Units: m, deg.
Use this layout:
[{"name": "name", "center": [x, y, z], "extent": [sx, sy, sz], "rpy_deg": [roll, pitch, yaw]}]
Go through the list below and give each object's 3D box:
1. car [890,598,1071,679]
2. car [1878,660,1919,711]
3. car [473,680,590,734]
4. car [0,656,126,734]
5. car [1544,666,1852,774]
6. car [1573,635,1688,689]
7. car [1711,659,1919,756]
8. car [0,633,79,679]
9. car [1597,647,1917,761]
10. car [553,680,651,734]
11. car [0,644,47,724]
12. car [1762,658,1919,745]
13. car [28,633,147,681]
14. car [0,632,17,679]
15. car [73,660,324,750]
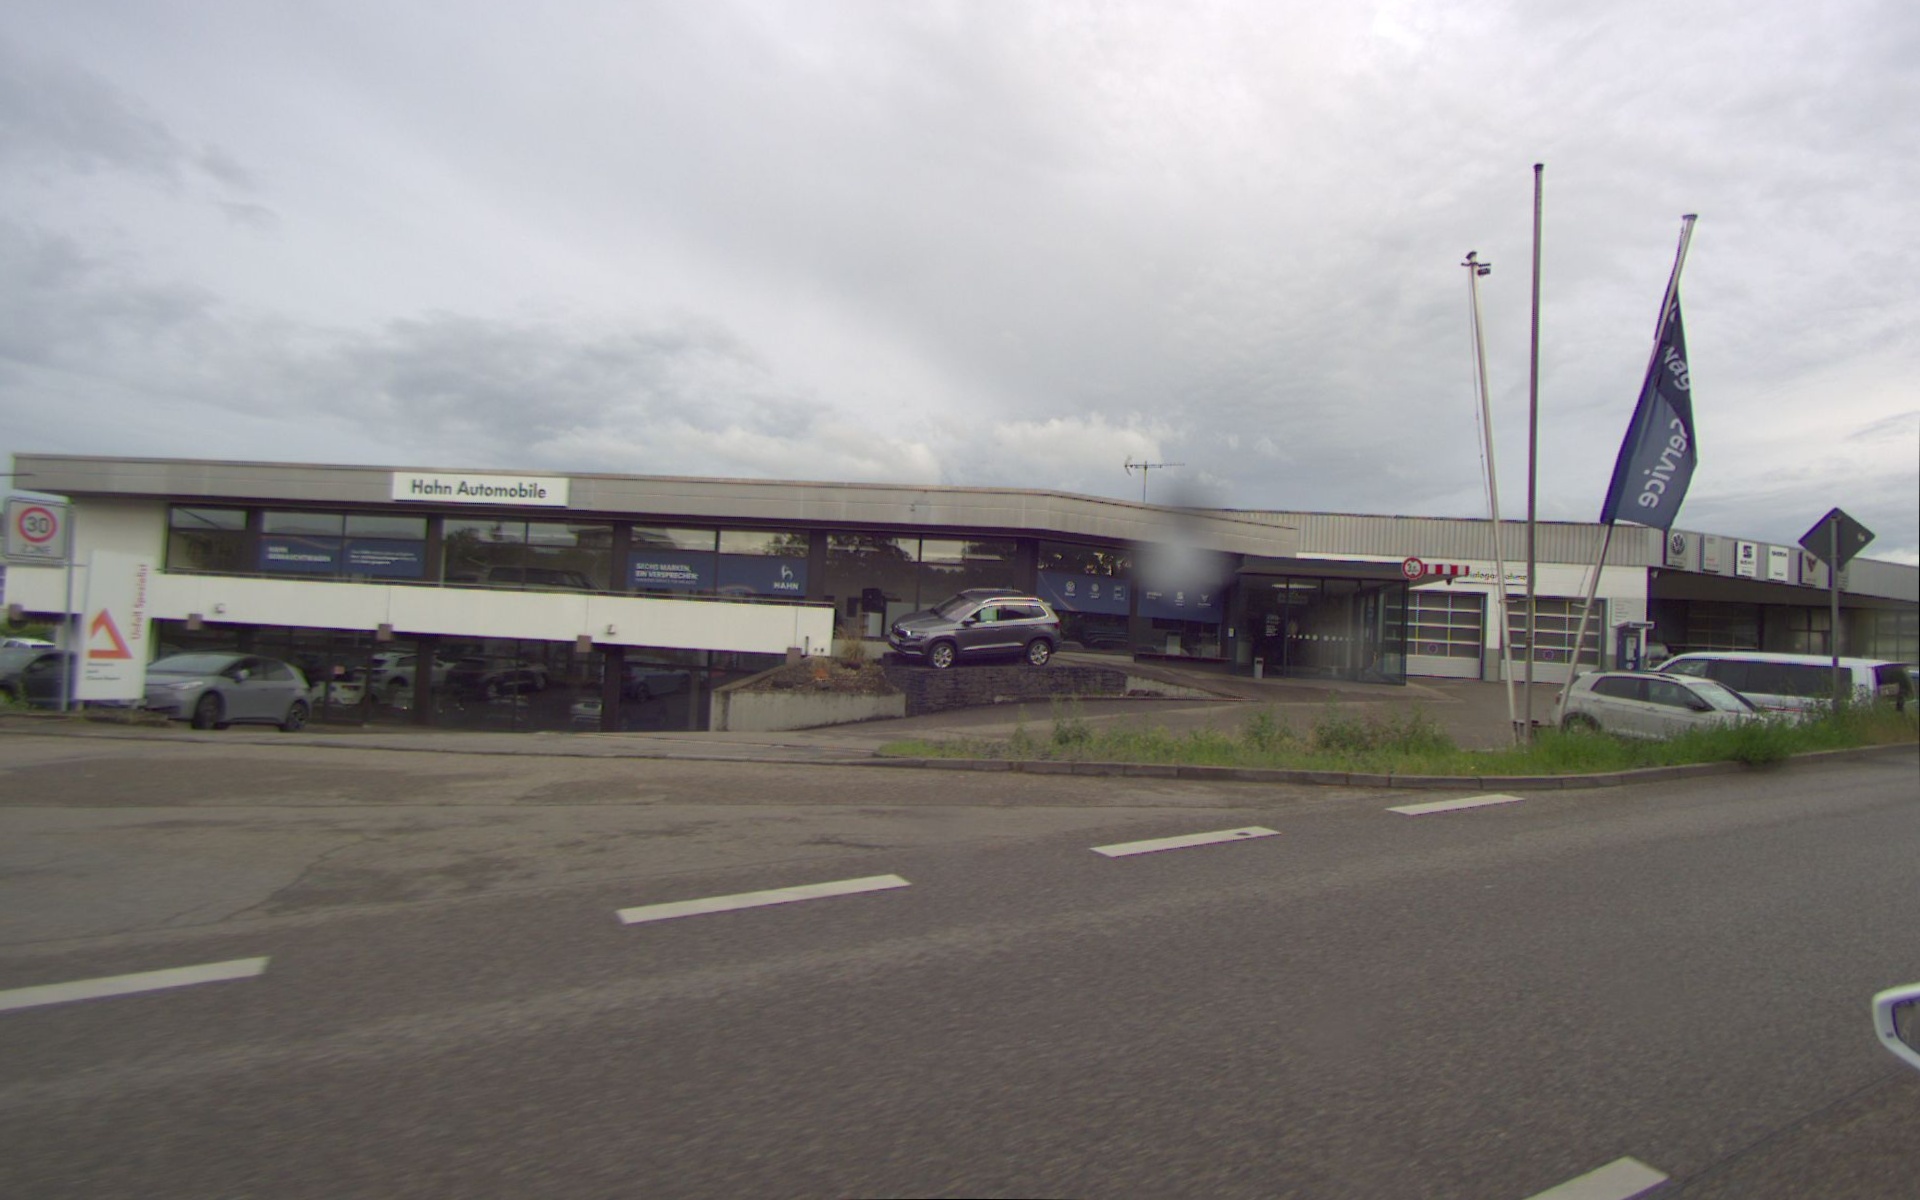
[{"name": "car", "center": [0.537, 0.959, 24.167], "extent": [4.196, 1.823, 1.394], "rpy_deg": [2, -3, -27]}, {"name": "car", "center": [28.147, 2.385, 27.444], "extent": [1.854, 1.386, 4.204], "rpy_deg": [1, -2, -31]}, {"name": "car", "center": [-14.115, 3.490, 33.366], "extent": [1.851, 1.446, 4.108], "rpy_deg": [0, -2, 4]}, {"name": "car", "center": [-19.839, 1.936, 20.909], "extent": [1.745, 1.446, 3.990], "rpy_deg": [1, -2, -3]}, {"name": "car", "center": [12.725, 1.986, 17.593], "extent": [1.802, 1.497, 3.991], "rpy_deg": [1, -2, -29]}, {"name": "car", "center": [26.643, 2.500, 40.109], "extent": [1.948, 1.985, 4.490], "rpy_deg": [1, -4, 7]}, {"name": "car", "center": [19.378, 2.273, 21.915], "extent": [1.980, 1.821, 4.390], "rpy_deg": [1, -2, -31]}, {"name": "car", "center": [-43.355, 2.592, 46.691], "extent": [3.921, 2.039, 1.855], "rpy_deg": [0, -4, 19]}, {"name": "car", "center": [14.910, 1.838, 19.084], "extent": [1.911, 1.821, 4.393], "rpy_deg": [1, -2, -29]}, {"name": "car", "center": [-11.788, 3.501, 33.367], "extent": [1.853, 1.446, 4.105], "rpy_deg": [1, -2, -2]}, {"name": "car", "center": [-22.848, 1.893, 22.191], "extent": [1.785, 1.812, 3.990], "rpy_deg": [1, -2, -3]}, {"name": "car", "center": [21.480, 2.323, 23.252], "extent": [1.854, 1.821, 4.204], "rpy_deg": [1, -2, -31]}, {"name": "car", "center": [-42.827, 2.751, 49.333], "extent": [5.273, 1.990, 2.000], "rpy_deg": [2, -1, 19]}, {"name": "car", "center": [-44.038, 2.424, 44.274], "extent": [3.921, 2.039, 1.910], "rpy_deg": [0, -4, 19]}, {"name": "car", "center": [-14.454, 1.939, 19.424], "extent": [1.853, 1.446, 4.104], "rpy_deg": [1, -2, -3]}]
